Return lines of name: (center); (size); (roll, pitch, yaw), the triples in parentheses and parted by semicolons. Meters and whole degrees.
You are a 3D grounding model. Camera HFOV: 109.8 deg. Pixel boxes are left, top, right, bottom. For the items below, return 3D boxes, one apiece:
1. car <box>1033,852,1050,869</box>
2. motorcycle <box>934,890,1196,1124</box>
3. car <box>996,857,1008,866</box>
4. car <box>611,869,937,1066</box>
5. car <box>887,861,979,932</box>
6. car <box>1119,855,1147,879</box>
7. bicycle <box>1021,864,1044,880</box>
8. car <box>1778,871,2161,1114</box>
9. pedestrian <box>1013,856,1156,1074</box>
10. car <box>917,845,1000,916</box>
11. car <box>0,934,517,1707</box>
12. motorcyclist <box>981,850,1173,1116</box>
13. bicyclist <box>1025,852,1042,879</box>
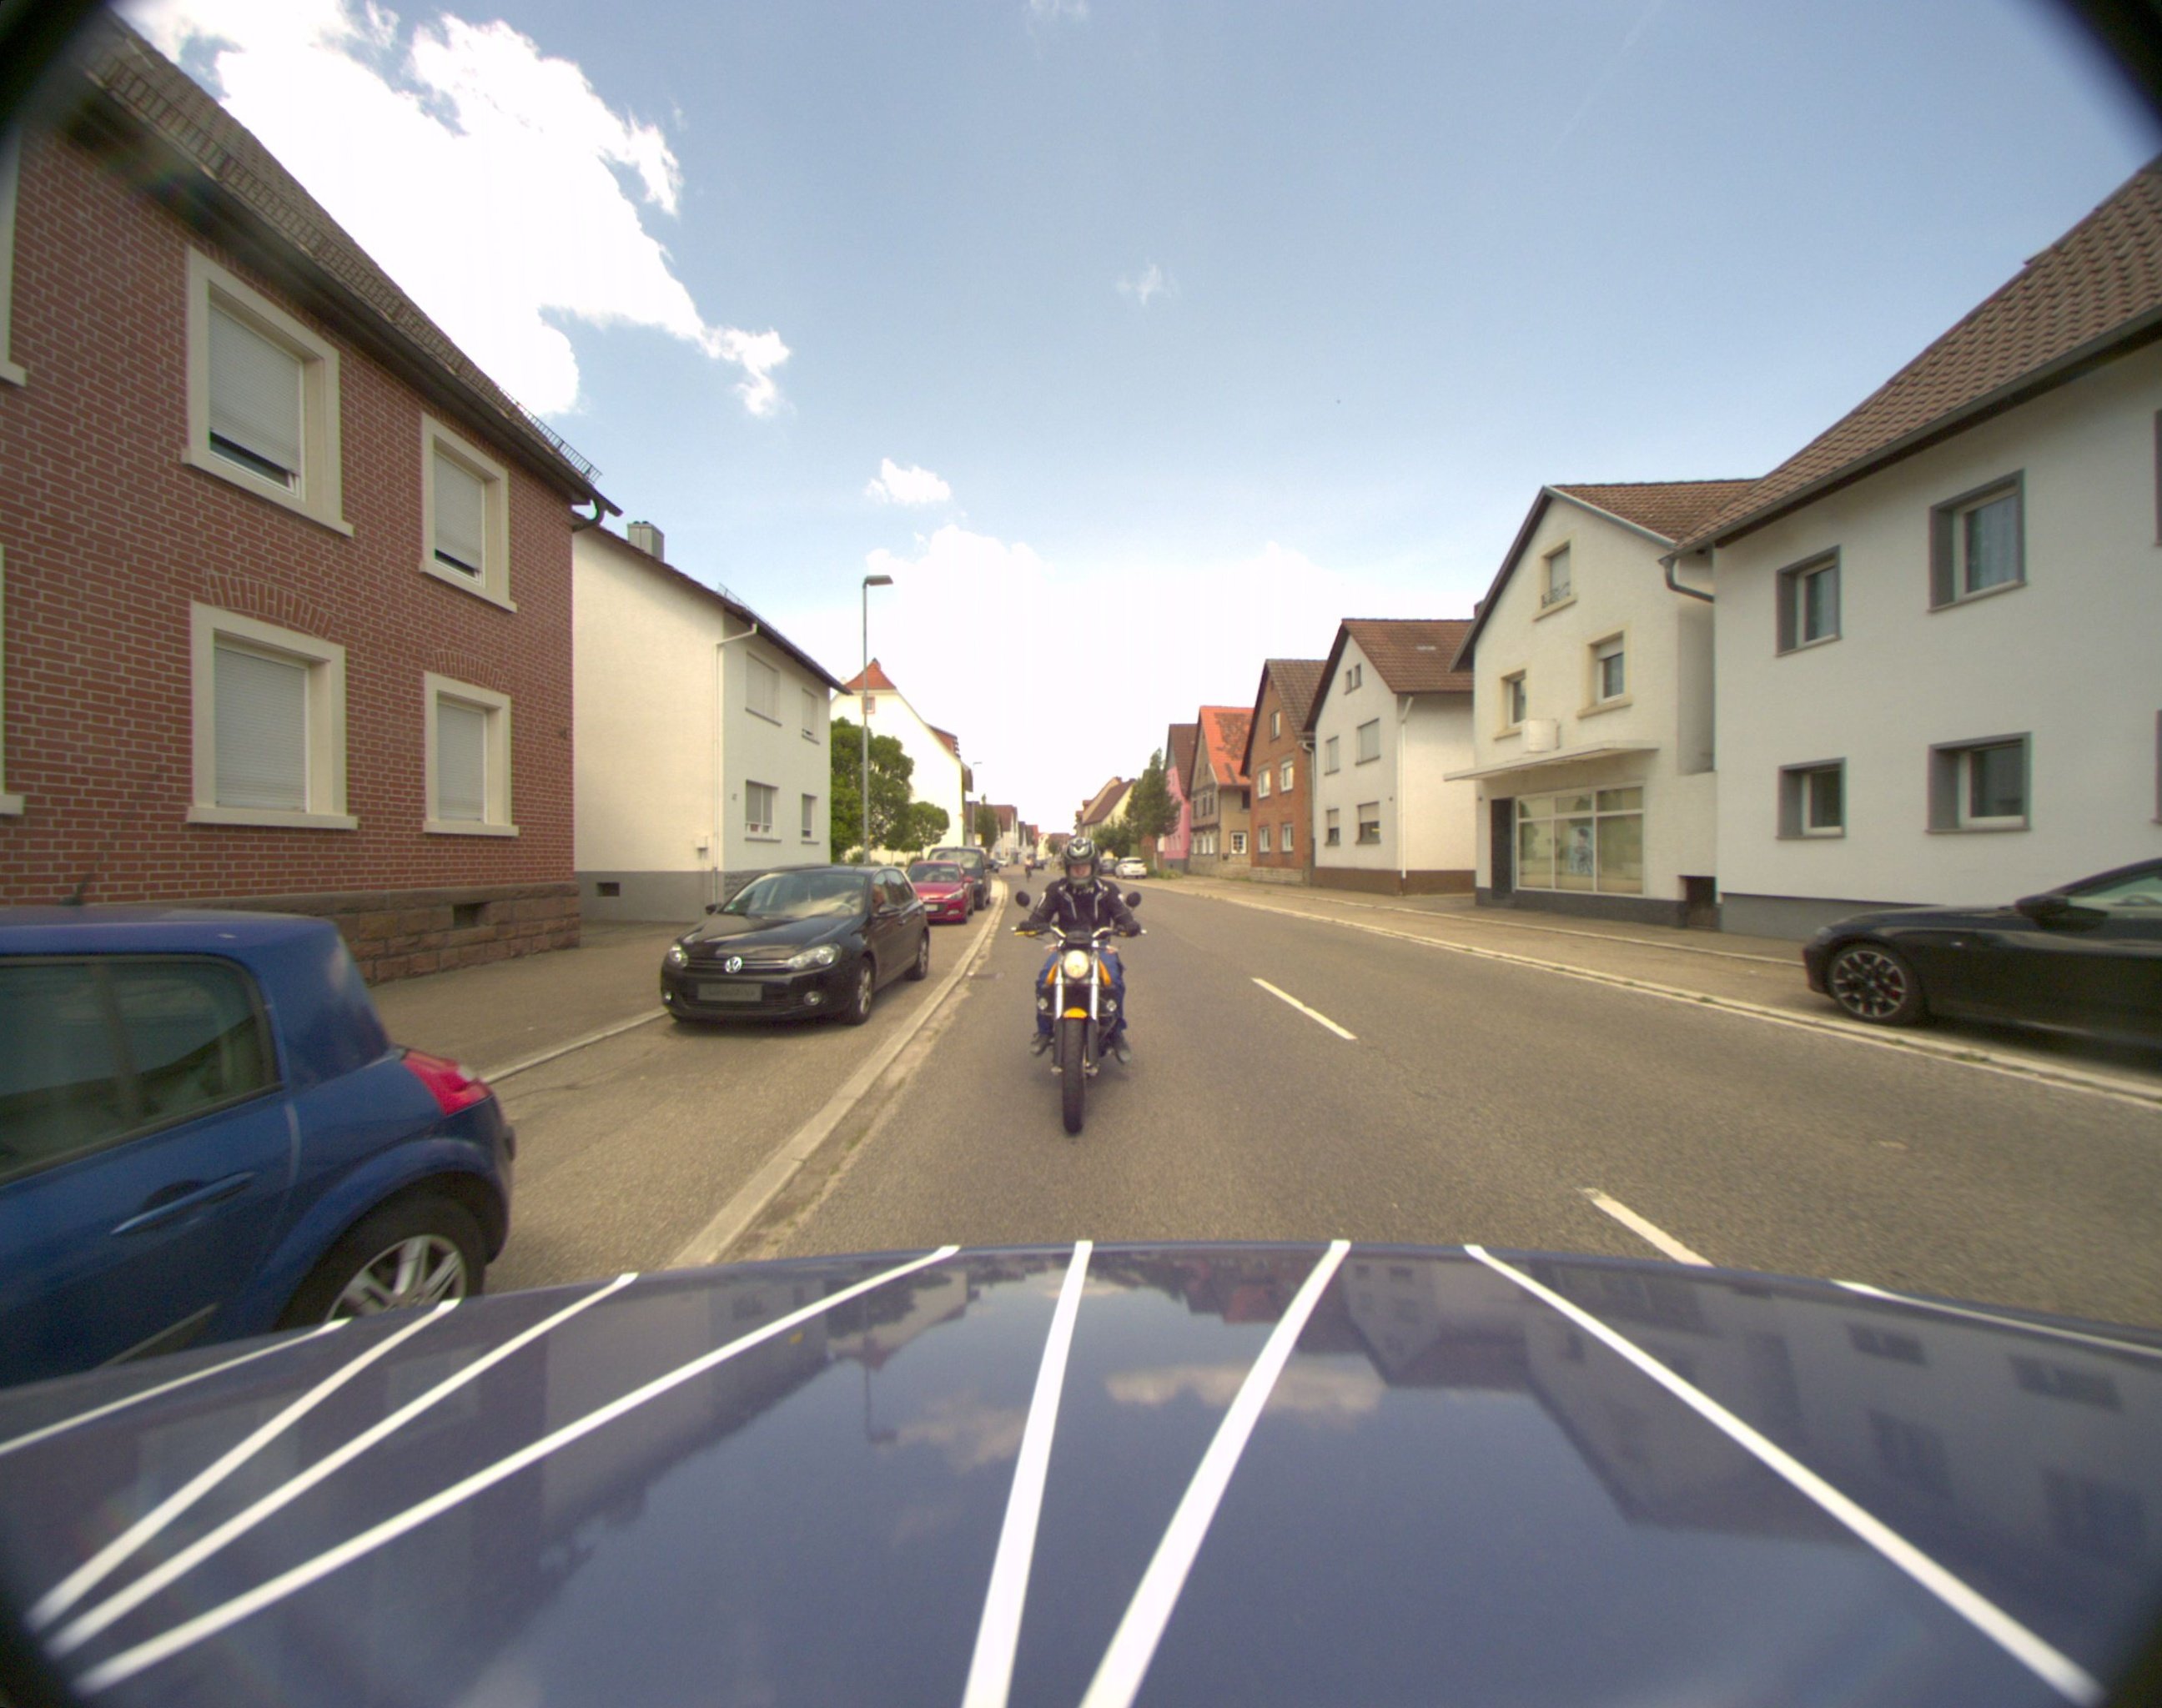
car: (-5.113, 0.869, 99.677); (1.999, 2.002, 3.999); (-2, 1, -1)
motorcycle: (0.012, 0.941, 5.500); (0.983, 1.233, 2.107); (-3, -1, 26)
car: (-14.115, 1.361, 135.976); (1.999, 1.345, 3.998); (-2, 1, -2)
car: (-2.798, 0.957, 7.977); (1.772, 1.520, 4.001); (-1, -2, 0)
car: (-3.544, 0.947, 18.933); (1.744, 1.495, 4.556); (-1, 0, -5)
car: (3.627, 0.910, 53.769); (1.683, 1.521, 3.498); (-2, 1, -1)
bicycle: (-3.192, 1.175, 49.899); (0.933, 1.005, 1.927); (-2, -1, 14)
car: (7.165, 0.821, 4.386); (1.770, 1.341, 4.755); (-1, 0, -2)
pedestrian: (0.057, 0.821, 5.948); (1.000, 1.565, 0.800); (-2, 2, 5)
car: (-3.722, 0.714, 24.071); (1.931, 1.904, 5.243); (-2, 1, -2)
car: (-2.718, 0.983, 0.404); (1.727, 1.378, 4.000); (0, 1, 2)
motorcyclist: (-0.006, 0.793, 5.159); (0.998, 1.591, 0.801); (-1, 2, 26)
bicyclist: (-3.111, 0.762, 49.828); (0.908, 1.679, 0.762); (-1, 2, 15)
